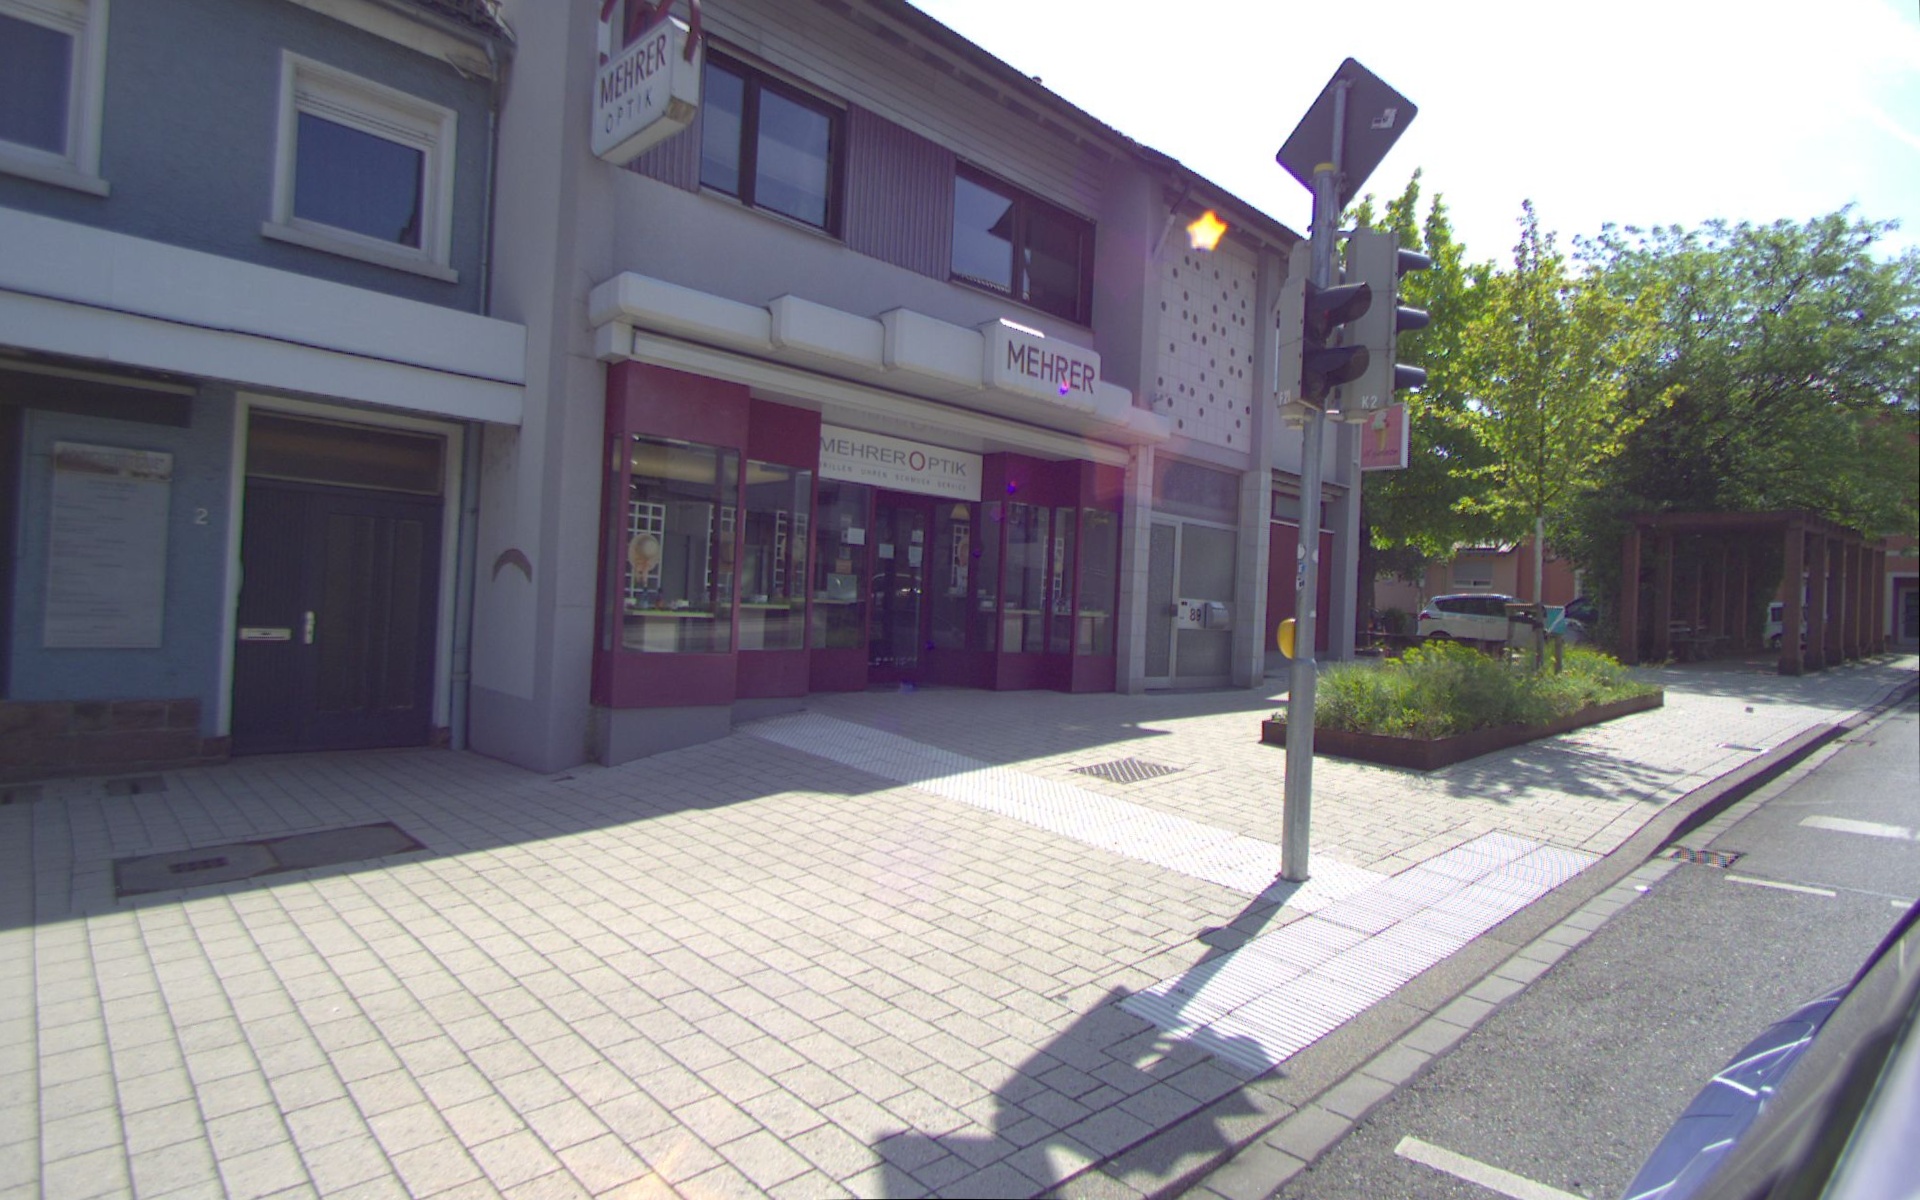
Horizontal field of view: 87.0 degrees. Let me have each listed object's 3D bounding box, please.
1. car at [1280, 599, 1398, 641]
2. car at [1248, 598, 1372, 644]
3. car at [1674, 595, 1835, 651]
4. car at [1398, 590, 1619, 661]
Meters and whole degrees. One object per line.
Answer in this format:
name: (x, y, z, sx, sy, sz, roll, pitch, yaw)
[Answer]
car: (13.999, 0.710, 37.534, 1.495, 1.449, 3.875, 1, 0, -43)
car: (12.333, 0.707, 35.827, 1.627, 1.509, 3.875, 1, 0, -43)
car: (28.083, 0.848, 35.881, 1.778, 1.777, 4.097, 1, -4, -36)
car: (13.369, 0.564, 24.858, 1.696, 1.564, 4.485, 1, 0, -43)
